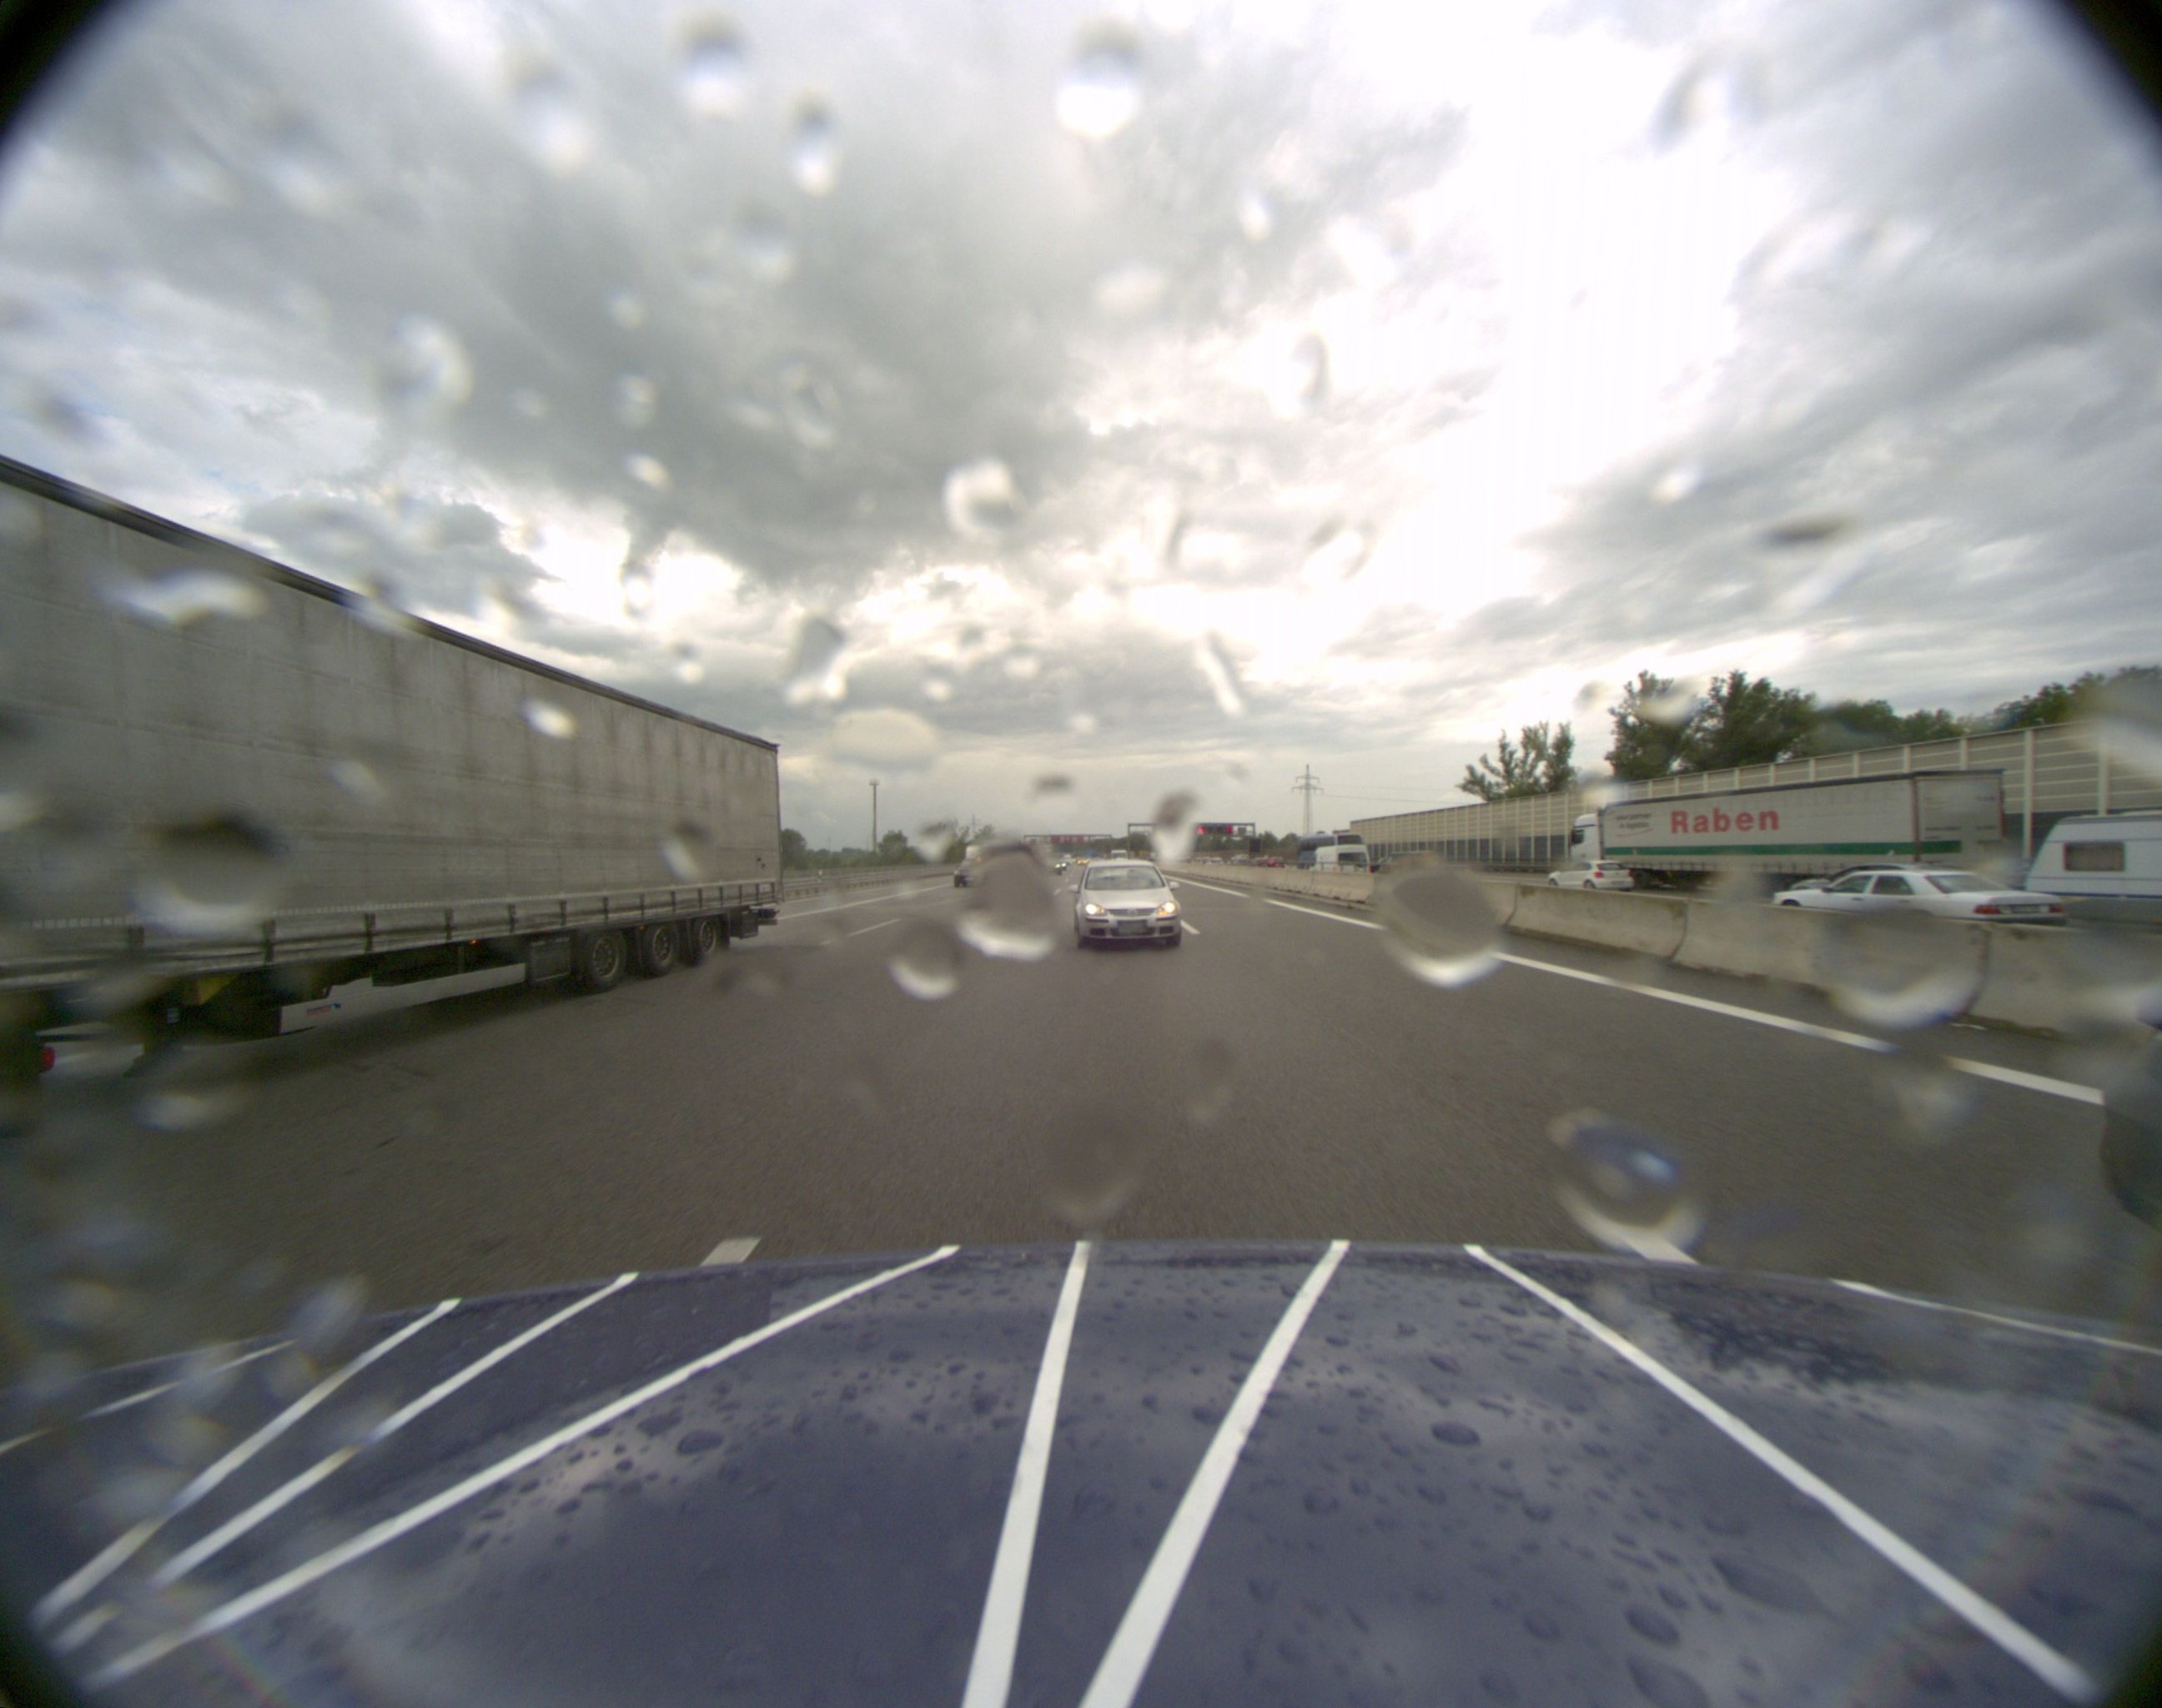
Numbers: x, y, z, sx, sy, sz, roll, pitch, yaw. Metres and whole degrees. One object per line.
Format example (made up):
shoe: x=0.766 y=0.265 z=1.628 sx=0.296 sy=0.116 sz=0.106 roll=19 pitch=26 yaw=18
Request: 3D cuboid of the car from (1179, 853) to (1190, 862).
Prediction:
car: x=19.316 y=0.696 z=141.842 sx=1.751 sy=1.621 sz=4.166 roll=-1 pitch=0 yaw=2

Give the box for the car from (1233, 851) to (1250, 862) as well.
car: x=26.651 y=0.422 z=126.052 sx=1.752 sy=1.882 sz=4.782 roll=-1 pitch=0 yaw=0

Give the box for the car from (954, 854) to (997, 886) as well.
car: x=-6.456 y=0.945 z=46.928 sx=1.925 sy=1.765 sz=4.502 roll=-2 pitch=0 yaw=0

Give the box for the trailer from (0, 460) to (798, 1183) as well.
trailer: x=-7.418 y=-0.135 z=8.577 sx=2.969 sy=3.996 sz=14.118 roll=-2 pitch=0 yaw=0

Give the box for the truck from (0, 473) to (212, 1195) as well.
truck: x=-7.457 y=-0.094 z=1.852 sx=2.969 sy=3.996 sz=6.588 roll=-2 pitch=0 yaw=0

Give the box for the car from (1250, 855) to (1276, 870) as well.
car: x=19.242 y=0.875 z=80.485 sx=1.752 sy=1.516 sz=4.177 roll=-1 pitch=0 yaw=1

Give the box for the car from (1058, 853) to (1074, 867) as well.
car: x=-1.936 y=0.781 z=97.678 sx=1.999 sy=1.701 sz=3.999 roll=-2 pitch=0 yaw=-2

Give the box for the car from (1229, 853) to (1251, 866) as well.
car: x=19.297 y=0.690 z=92.467 sx=1.752 sy=1.516 sz=4.927 roll=-1 pitch=0 yaw=1

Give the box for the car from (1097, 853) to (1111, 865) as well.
car: x=4.017 y=0.849 z=132.912 sx=1.999 sy=2.002 sz=3.999 roll=-2 pitch=0 yaw=-2

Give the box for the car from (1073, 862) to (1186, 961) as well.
car: x=0.741 y=0.919 z=13.952 sx=1.683 sy=1.437 sz=3.999 roll=-2 pitch=1 yaw=-1

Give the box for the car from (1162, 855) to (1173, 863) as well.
car: x=15.560 y=0.948 z=136.388 sx=1.576 sy=1.386 sz=3.575 roll=-1 pitch=0 yaw=1

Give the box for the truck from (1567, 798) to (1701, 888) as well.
truck: x=26.279 y=-0.507 z=36.413 sx=2.583 sy=3.912 sz=5.177 roll=-2 pitch=0 yaw=1

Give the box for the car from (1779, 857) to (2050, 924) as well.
car: x=22.082 y=0.881 z=20.552 sx=1.752 sy=1.516 sz=5.140 roll=-1 pitch=0 yaw=1

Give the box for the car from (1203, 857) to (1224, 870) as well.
car: x=15.406 y=1.092 z=88.234 sx=1.752 sy=1.516 sz=4.177 roll=-1 pitch=0 yaw=1

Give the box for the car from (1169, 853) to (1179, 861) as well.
car: x=20.376 y=0.622 z=165.814 sx=1.751 sy=1.621 sz=4.166 roll=-1 pitch=0 yaw=2

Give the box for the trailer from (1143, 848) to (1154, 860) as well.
trailer: x=19.049 y=0.007 z=214.906 sx=2.455 sy=3.120 sz=6.050 roll=-1 pitch=0 yaw=0

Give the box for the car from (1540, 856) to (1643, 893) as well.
car: x=22.268 y=0.851 z=33.366 sx=1.752 sy=1.516 sz=4.177 roll=-1 pitch=0 yaw=1

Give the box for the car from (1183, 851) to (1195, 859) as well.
car: x=22.571 y=0.115 z=159.428 sx=1.826 sy=1.621 sz=4.525 roll=-1 pitch=0 yaw=0

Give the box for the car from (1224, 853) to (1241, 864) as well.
car: x=22.431 y=0.646 z=112.615 sx=1.752 sy=1.601 sz=4.177 roll=-1 pitch=0 yaw=1

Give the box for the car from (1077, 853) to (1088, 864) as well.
car: x=0.220 y=0.859 z=151.058 sx=1.999 sy=2.002 sz=3.999 roll=-2 pitch=0 yaw=-2

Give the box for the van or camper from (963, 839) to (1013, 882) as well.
van or camper: x=-6.333 y=0.428 z=52.783 sx=2.390 sy=2.722 sz=7.209 roll=-2 pitch=0 yaw=1

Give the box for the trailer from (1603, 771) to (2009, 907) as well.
trailer: x=26.178 y=-0.460 z=29.354 sx=2.569 sy=3.912 sz=13.816 roll=-2 pitch=0 yaw=1

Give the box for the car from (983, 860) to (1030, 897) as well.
car: x=-3.202 y=1.046 z=33.427 sx=1.718 sy=1.437 sz=3.999 roll=-2 pitch=0 yaw=-1

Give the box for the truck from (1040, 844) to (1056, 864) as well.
truck: x=-6.416 y=0.054 z=149.730 sx=2.870 sy=3.633 sz=9.593 roll=-2 pitch=0 yaw=-1

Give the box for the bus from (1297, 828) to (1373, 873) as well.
bus: x=22.973 y=-0.332 z=69.684 sx=3.100 sy=3.736 sz=11.881 roll=-1 pitch=0 yaw=1

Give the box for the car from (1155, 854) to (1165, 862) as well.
car: x=15.640 y=0.760 z=150.524 sx=1.752 sy=1.621 sz=3.748 roll=-1 pitch=0 yaw=1

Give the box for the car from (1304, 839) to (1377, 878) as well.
car: x=14.709 y=0.240 z=43.529 sx=2.165 sy=2.059 sz=6.014 roll=-1 pitch=0 yaw=1

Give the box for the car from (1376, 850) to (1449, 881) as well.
car: x=18.567 y=0.612 z=42.789 sx=2.084 sy=1.649 sz=4.801 roll=-1 pitch=0 yaw=1

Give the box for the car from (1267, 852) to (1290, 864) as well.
car: x=27.135 y=0.581 z=104.485 sx=1.752 sy=1.601 sz=5.688 roll=-1 pitch=0 yaw=1

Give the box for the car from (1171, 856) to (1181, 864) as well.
car: x=22.992 y=1.358 z=183.580 sx=1.752 sy=1.837 sz=4.165 roll=-1 pitch=0 yaw=-1

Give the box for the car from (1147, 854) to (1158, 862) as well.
car: x=15.256 y=0.828 z=162.180 sx=1.885 sy=1.734 sz=5.110 roll=-1 pitch=0 yaw=2

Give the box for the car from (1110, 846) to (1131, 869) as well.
car: x=4.682 y=0.391 z=90.158 sx=1.999 sy=2.524 sz=4.807 roll=-2 pitch=0 yaw=-2

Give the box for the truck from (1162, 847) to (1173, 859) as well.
truck: x=26.661 y=-0.321 z=233.452 sx=2.759 sy=3.865 sz=6.050 roll=-1 pitch=0 yaw=0

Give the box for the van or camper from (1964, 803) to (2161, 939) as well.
van or camper: x=22.036 y=0.316 z=14.400 sx=2.350 sy=2.625 sz=7.149 roll=-1 pitch=0 yaw=1

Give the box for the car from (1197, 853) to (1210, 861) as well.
car: x=22.977 y=0.546 z=142.395 sx=1.752 sy=1.621 sz=4.391 roll=-1 pitch=0 yaw=-1

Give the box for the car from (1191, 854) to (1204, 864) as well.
car: x=19.308 y=0.753 z=125.762 sx=1.625 sy=1.571 sz=3.619 roll=-1 pitch=0 yaw=1

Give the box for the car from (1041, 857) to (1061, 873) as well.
car: x=-2.792 y=0.997 z=71.859 sx=1.841 sy=1.437 sz=3.999 roll=-2 pitch=0 yaw=-1
